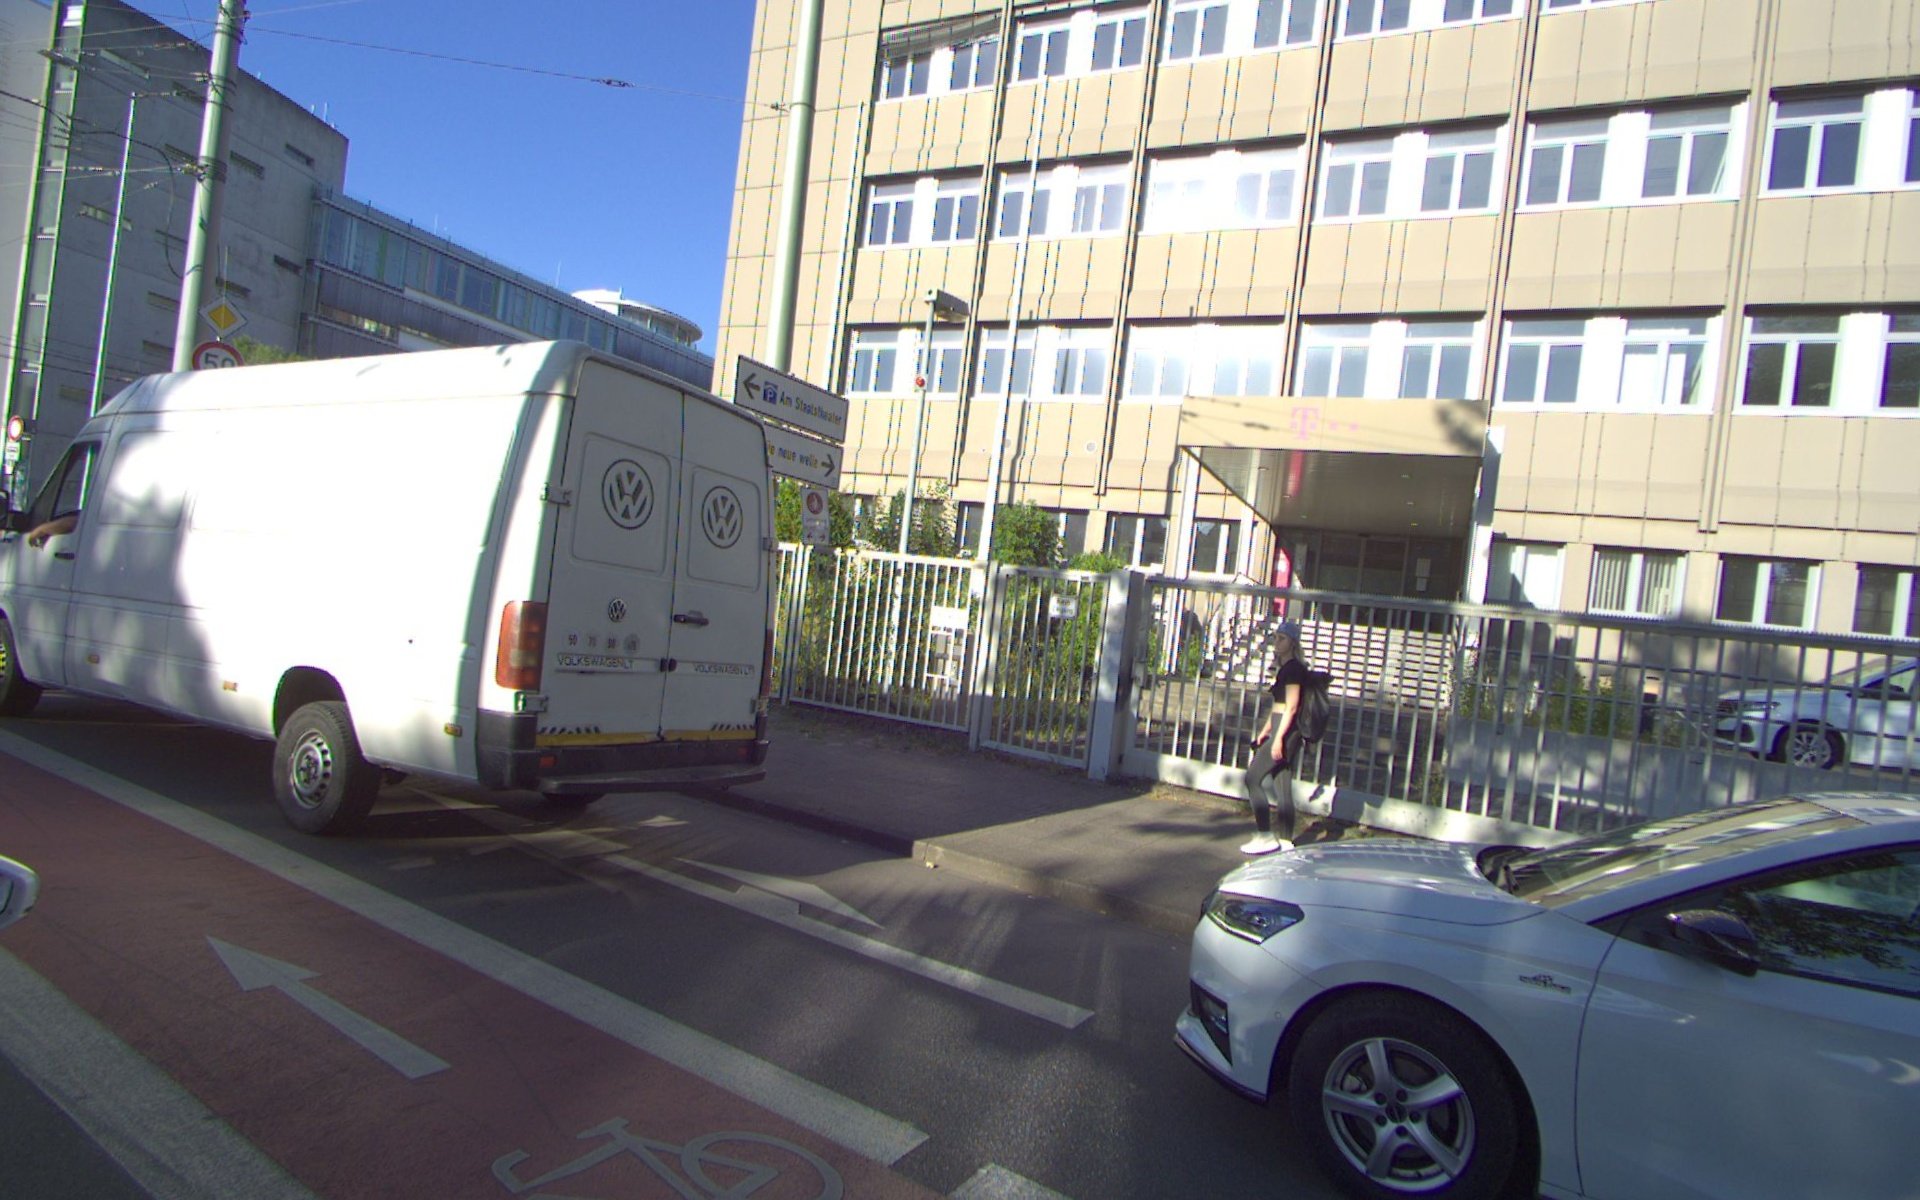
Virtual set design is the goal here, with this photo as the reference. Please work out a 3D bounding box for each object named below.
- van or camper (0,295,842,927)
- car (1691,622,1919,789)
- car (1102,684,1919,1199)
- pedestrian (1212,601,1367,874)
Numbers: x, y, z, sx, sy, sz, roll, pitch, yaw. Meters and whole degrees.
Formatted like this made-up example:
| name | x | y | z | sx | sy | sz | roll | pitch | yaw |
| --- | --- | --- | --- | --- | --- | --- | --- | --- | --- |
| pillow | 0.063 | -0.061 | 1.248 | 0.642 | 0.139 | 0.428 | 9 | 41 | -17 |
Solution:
| name | x | y | z | sx | sy | sz | roll | pitch | yaw |
| --- | --- | --- | --- | --- | --- | --- | --- | --- | --- |
| van or camper | -4.039 | -0.185 | 6.707 | 6.196 | 2.748 | 1.973 | 7 | -1 | 29 |
| car | 12.812 | 1.527 | 13.248 | 4.701 | 1.865 | 1.998 | 7 | 0 | 27 |
| car | 2.684 | 1.253 | 3.015 | 4.006 | 1.405 | 1.705 | 7 | -1 | 30 |
| pedestrian | 2.381 | 0.956 | 7.262 | 0.757 | 1.784 | 0.591 | 7 | 1 | 32 |
